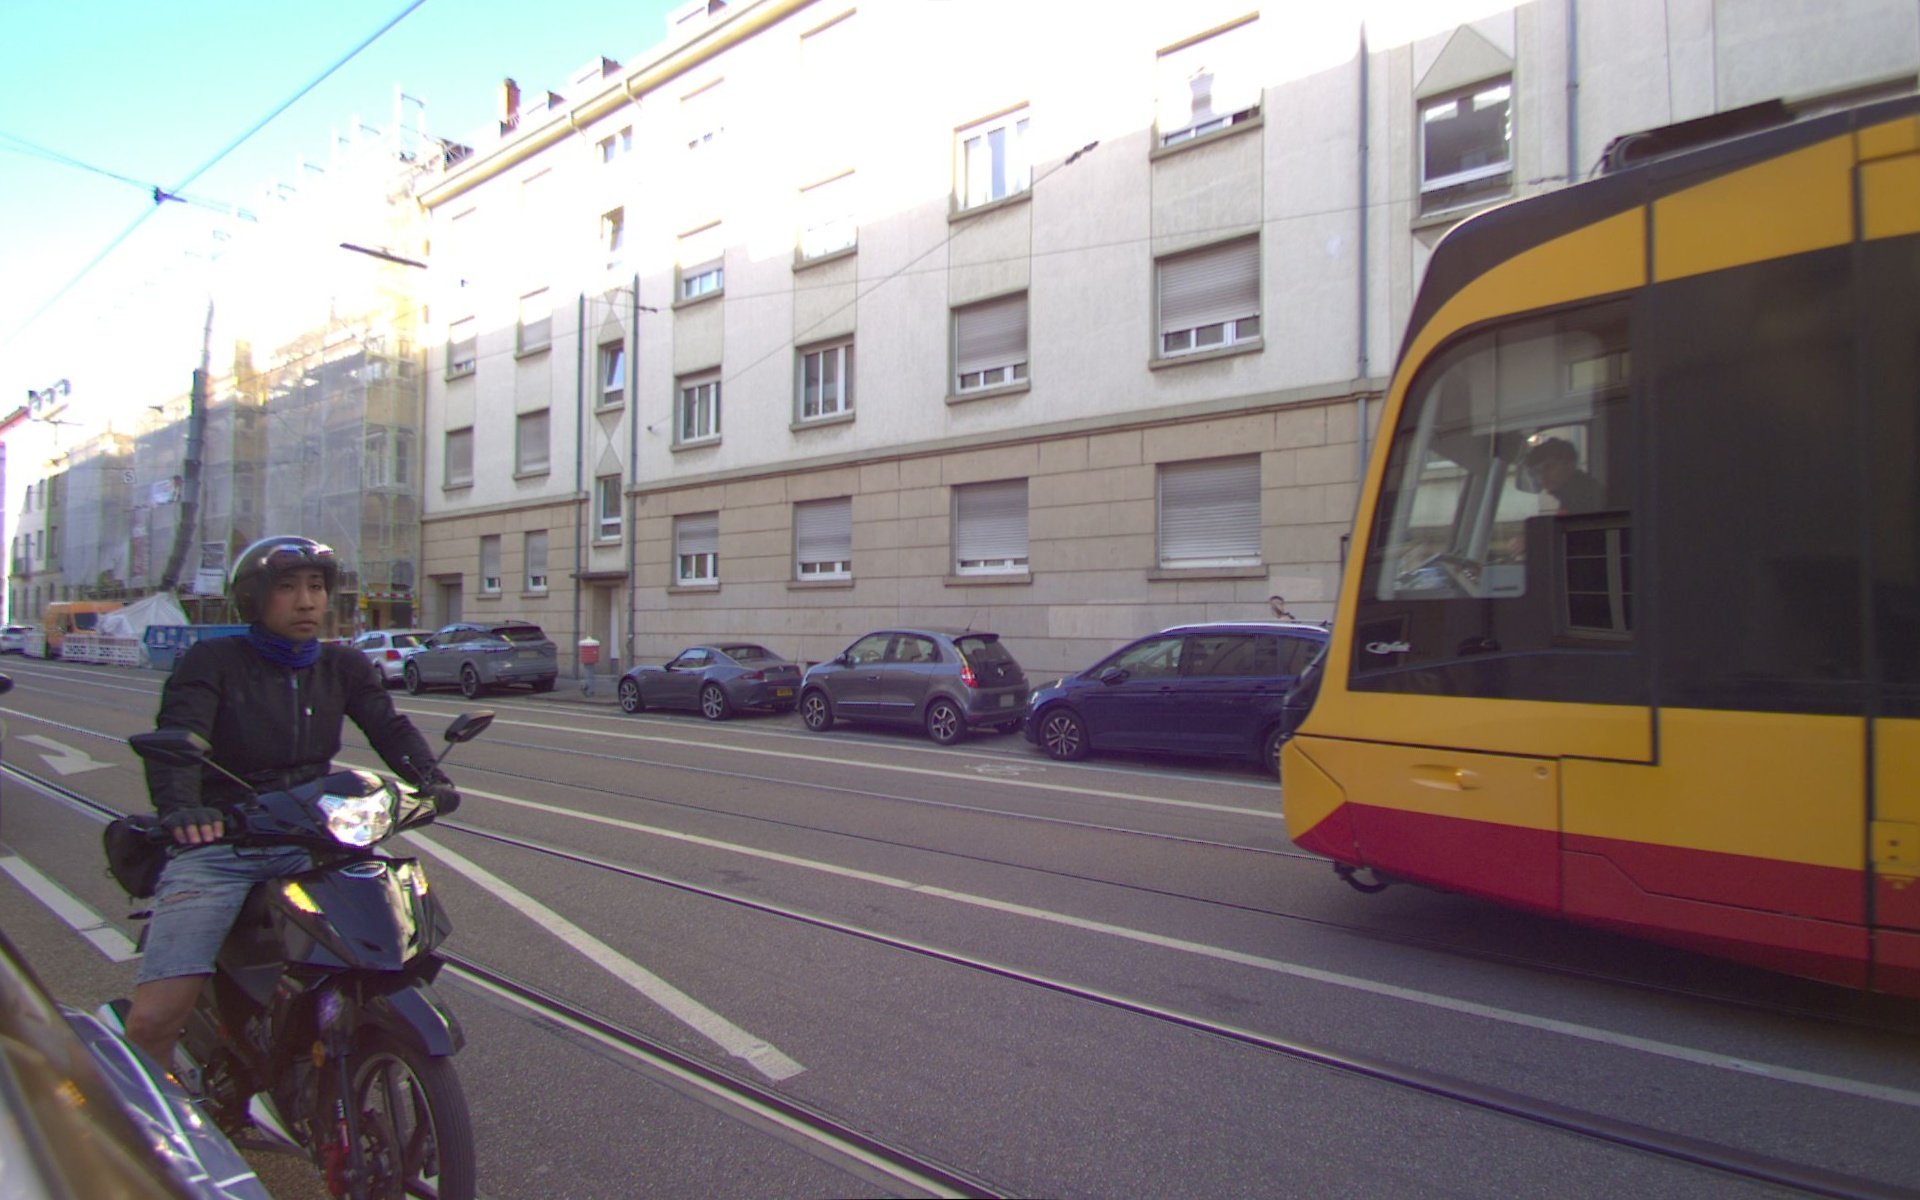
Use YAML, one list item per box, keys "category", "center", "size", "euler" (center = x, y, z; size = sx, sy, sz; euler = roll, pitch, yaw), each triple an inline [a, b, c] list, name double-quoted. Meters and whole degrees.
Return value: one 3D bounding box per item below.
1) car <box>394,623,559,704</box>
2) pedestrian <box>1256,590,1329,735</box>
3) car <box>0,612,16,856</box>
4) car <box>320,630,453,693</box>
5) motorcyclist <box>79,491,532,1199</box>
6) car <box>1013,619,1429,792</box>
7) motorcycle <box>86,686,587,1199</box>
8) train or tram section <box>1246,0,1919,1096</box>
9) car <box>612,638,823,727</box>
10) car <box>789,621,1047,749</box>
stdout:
- category: "car"
  center: [-10.872, 1.345, 22.654]
  size: [4.108, 1.603, 1.691]
  euler: [-1, 0, 38]
- category: "pedestrian"
  center: [4.385, 0.793, 13.353]
  size: [0.733, 1.846, 0.592]
  euler: [-1, 0, 41]
- category: "car"
  center: [-7.985, 0.849, 6.980]
  size: [3.997, 1.515, 1.670]
  euler: [-1, -3, 40]
- category: "car"
  center: [-14.488, 1.494, 25.507]
  size: [3.639, 1.402, 1.617]
  euler: [-1, 0, 37]
- category: "motorcyclist"
  center: [-1.677, 0.529, 2.635]
  size: [0.598, 1.516, 0.851]
  euler: [-1, 0, 41]
- category: "car"
  center: [2.911, 1.049, 11.730]
  size: [4.285, 1.597, 1.887]
  euler: [-1, 0, 37]
- category: "motorcycle"
  center: [-1.710, 0.899, 2.594]
  size: [1.980, 1.228, 0.532]
  euler: [-1, 0, 41]
- category: "train or tram section"
  center: [7.103, -0.351, 1.645]
  size: [12.611, 3.621, 3.033]
  euler: [-1, -2, 38]
- category: "car"
  center: [-4.229, 1.352, 17.513]
  size: [3.483, 1.286, 1.730]
  euler: [-1, 0, 37]
- category: "car"
  center: [-0.661, 1.118, 14.638]
  size: [3.493, 1.584, 1.650]
  euler: [-1, 0, 38]
